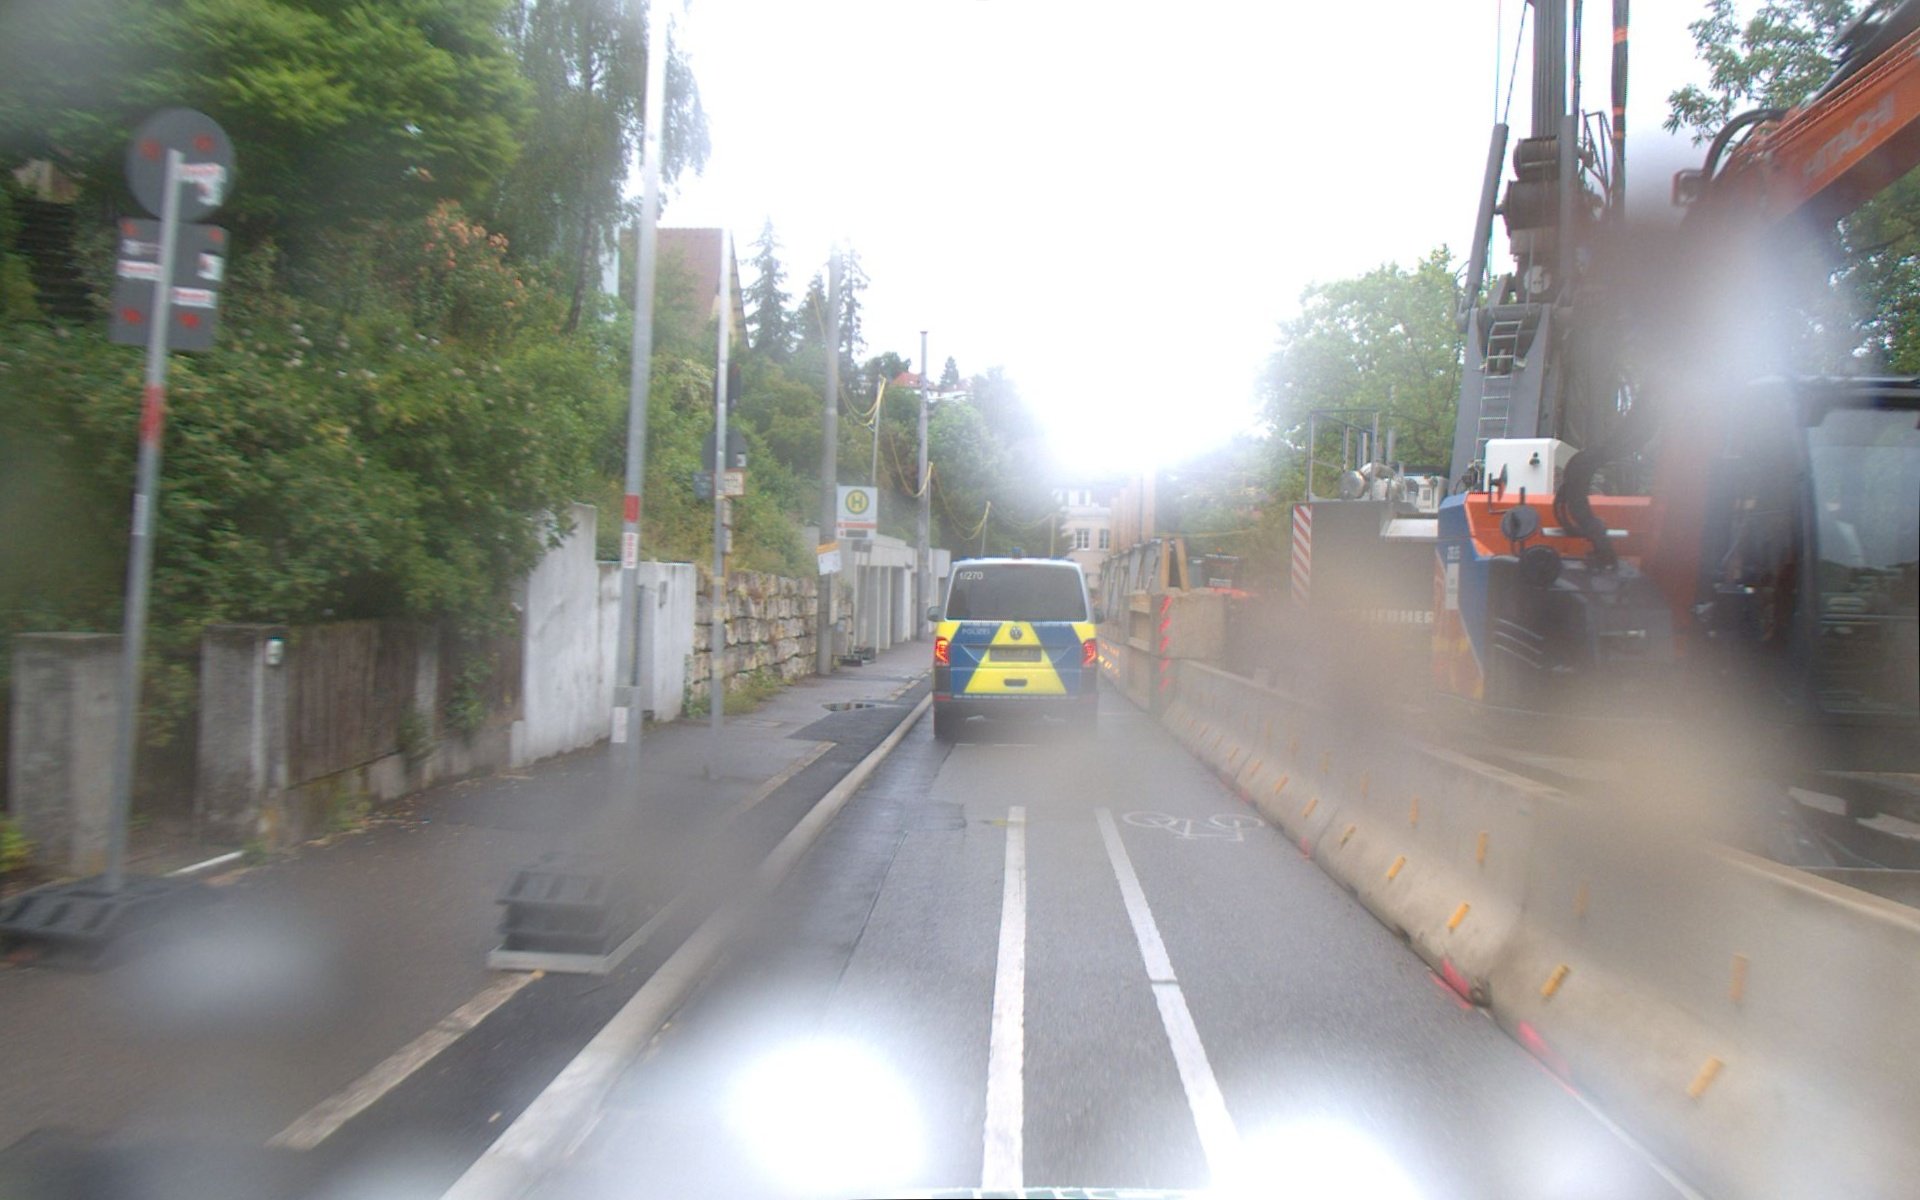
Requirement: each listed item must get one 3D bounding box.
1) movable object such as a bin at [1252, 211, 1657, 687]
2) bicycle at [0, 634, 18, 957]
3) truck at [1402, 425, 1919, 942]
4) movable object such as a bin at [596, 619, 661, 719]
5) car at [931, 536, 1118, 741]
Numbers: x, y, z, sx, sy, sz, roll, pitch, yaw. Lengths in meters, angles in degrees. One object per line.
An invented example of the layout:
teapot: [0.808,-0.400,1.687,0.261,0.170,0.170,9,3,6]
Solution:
movable object such as a bin: [6.822,-1.582,21.919,3.614,5.155,7.149,0,-1,30]
bicycle: [-4.012,0.650,5.544,1.584,1.151,0.443,3,-1,15]
truck: [3.950,0.377,8.577,2.498,2.145,3.304,1,-1,2]
movable object such as a bin: [-3.363,0.694,16.803,0.496,0.982,0.498,3,-1,2]
car: [0.728,0.433,19.493,1.868,2.045,4.440,3,-1,1]
